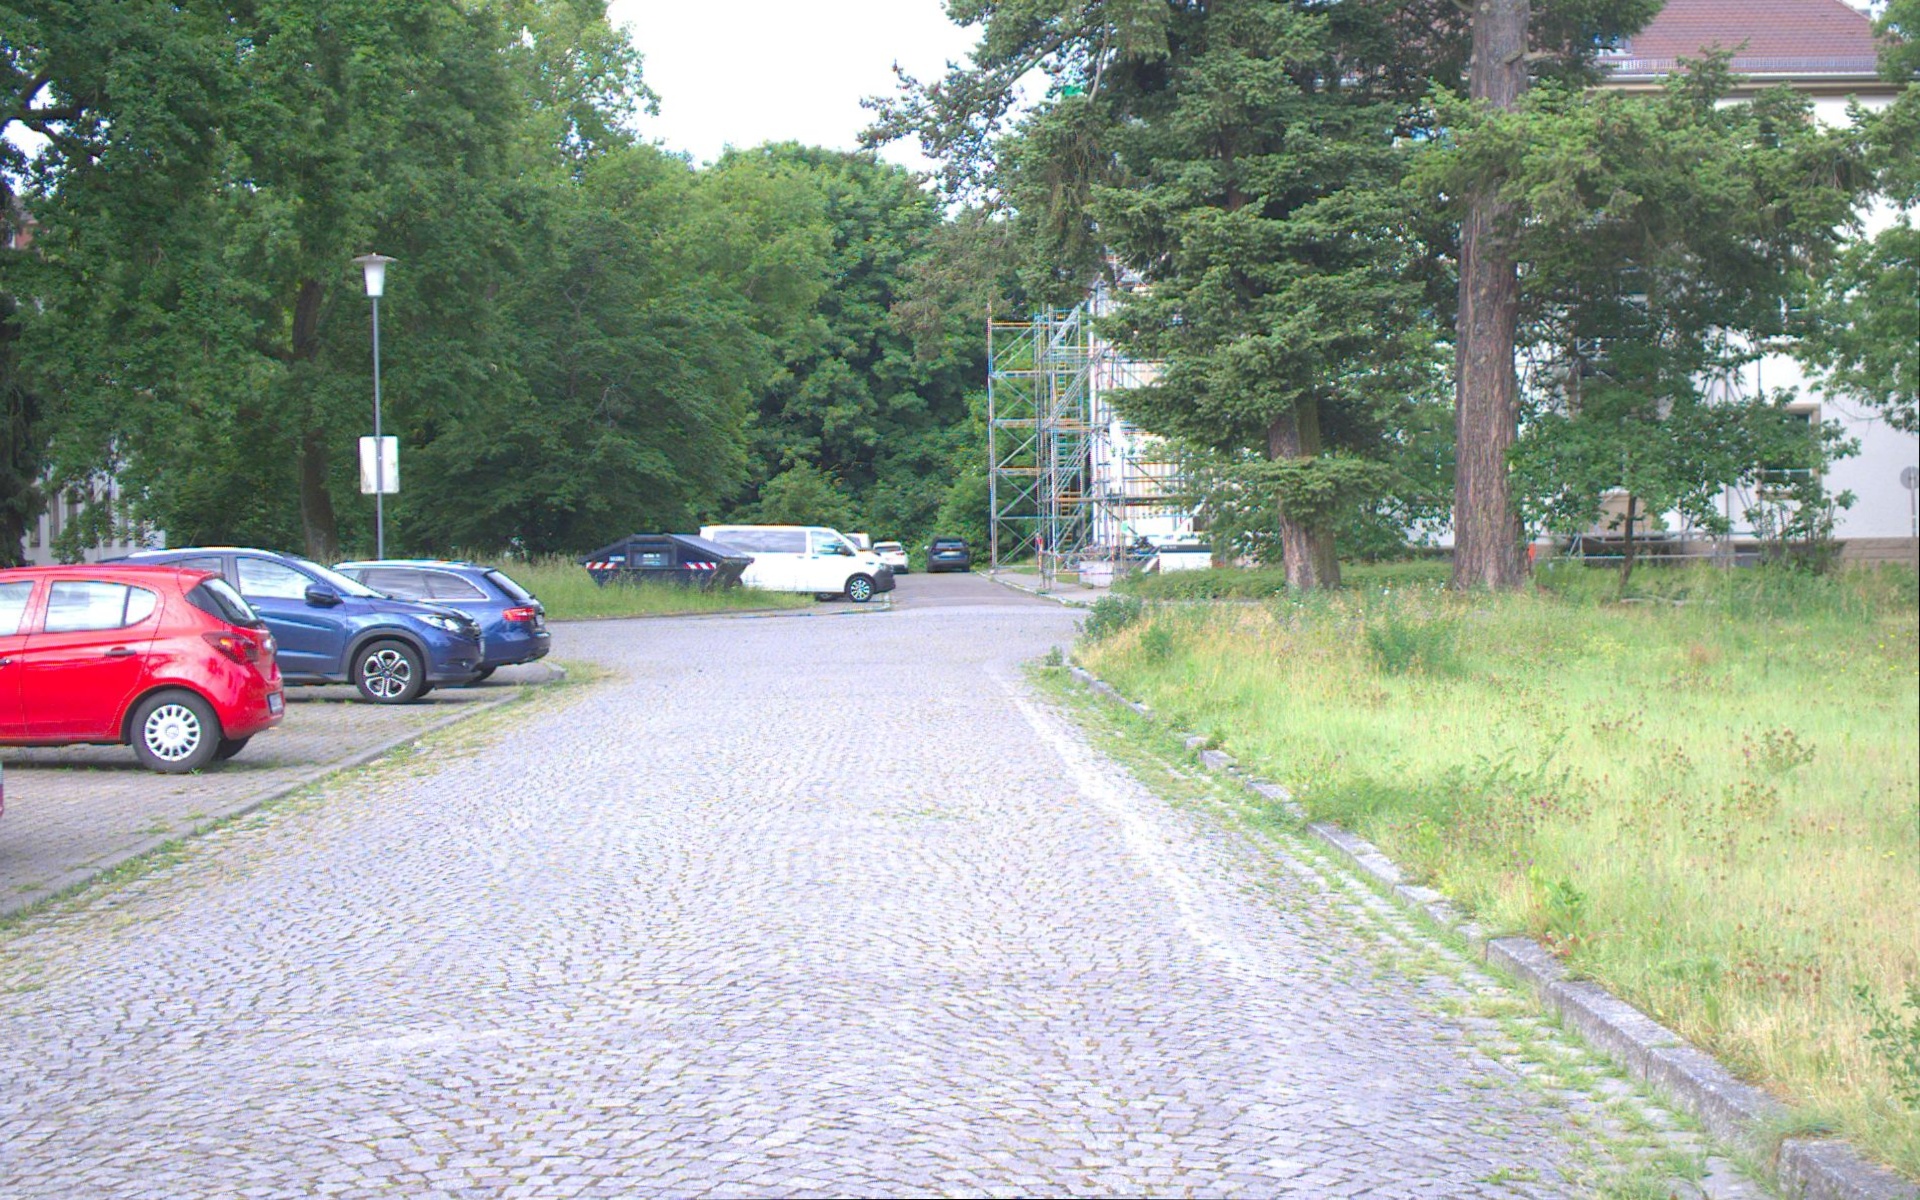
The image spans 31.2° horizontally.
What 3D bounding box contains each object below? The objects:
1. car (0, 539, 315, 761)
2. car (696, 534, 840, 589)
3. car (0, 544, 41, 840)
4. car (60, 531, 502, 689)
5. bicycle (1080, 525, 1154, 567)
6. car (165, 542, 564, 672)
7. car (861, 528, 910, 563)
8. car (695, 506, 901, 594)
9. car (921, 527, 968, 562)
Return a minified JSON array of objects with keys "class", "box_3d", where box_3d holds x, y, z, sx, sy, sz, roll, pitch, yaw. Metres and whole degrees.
[{"class":"car","box_3d":[-6.902,0.356,25.120,4.054,1.520,1.905,-1,1,-2]},{"class":"car","box_3d":[-5.119,-1.031,91.533,3.788,1.390,2.000,-1,1,-4]},{"class":"car","box_3d":[-7.007,0.513,17.487,4.165,1.505,1.908,-1,1,-2]},{"class":"car","box_3d":[-6.920,0.083,35.373,4.227,1.571,1.887,0,1,-2]},{"class":"bicycle","box_3d":[4.858,-1.676,106.305,2.240,1.250,0.777,-1,1,1]},{"class":"car","box_3d":[-6.888,0.062,40.091,4.302,1.456,1.975,0,1,0]},{"class":"car","box_3d":[-3.377,-2.449,154.963,2.118,1.516,4.001,-1,1,-2]},{"class":"car","box_3d":[-4.202,-1.306,88.949,5.234,2.160,2.000,-1,1,-3]},{"class":"car","box_3d":[-0.706,-2.515,155.300,1.951,1.516,4.001,-1,1,-3]}]
